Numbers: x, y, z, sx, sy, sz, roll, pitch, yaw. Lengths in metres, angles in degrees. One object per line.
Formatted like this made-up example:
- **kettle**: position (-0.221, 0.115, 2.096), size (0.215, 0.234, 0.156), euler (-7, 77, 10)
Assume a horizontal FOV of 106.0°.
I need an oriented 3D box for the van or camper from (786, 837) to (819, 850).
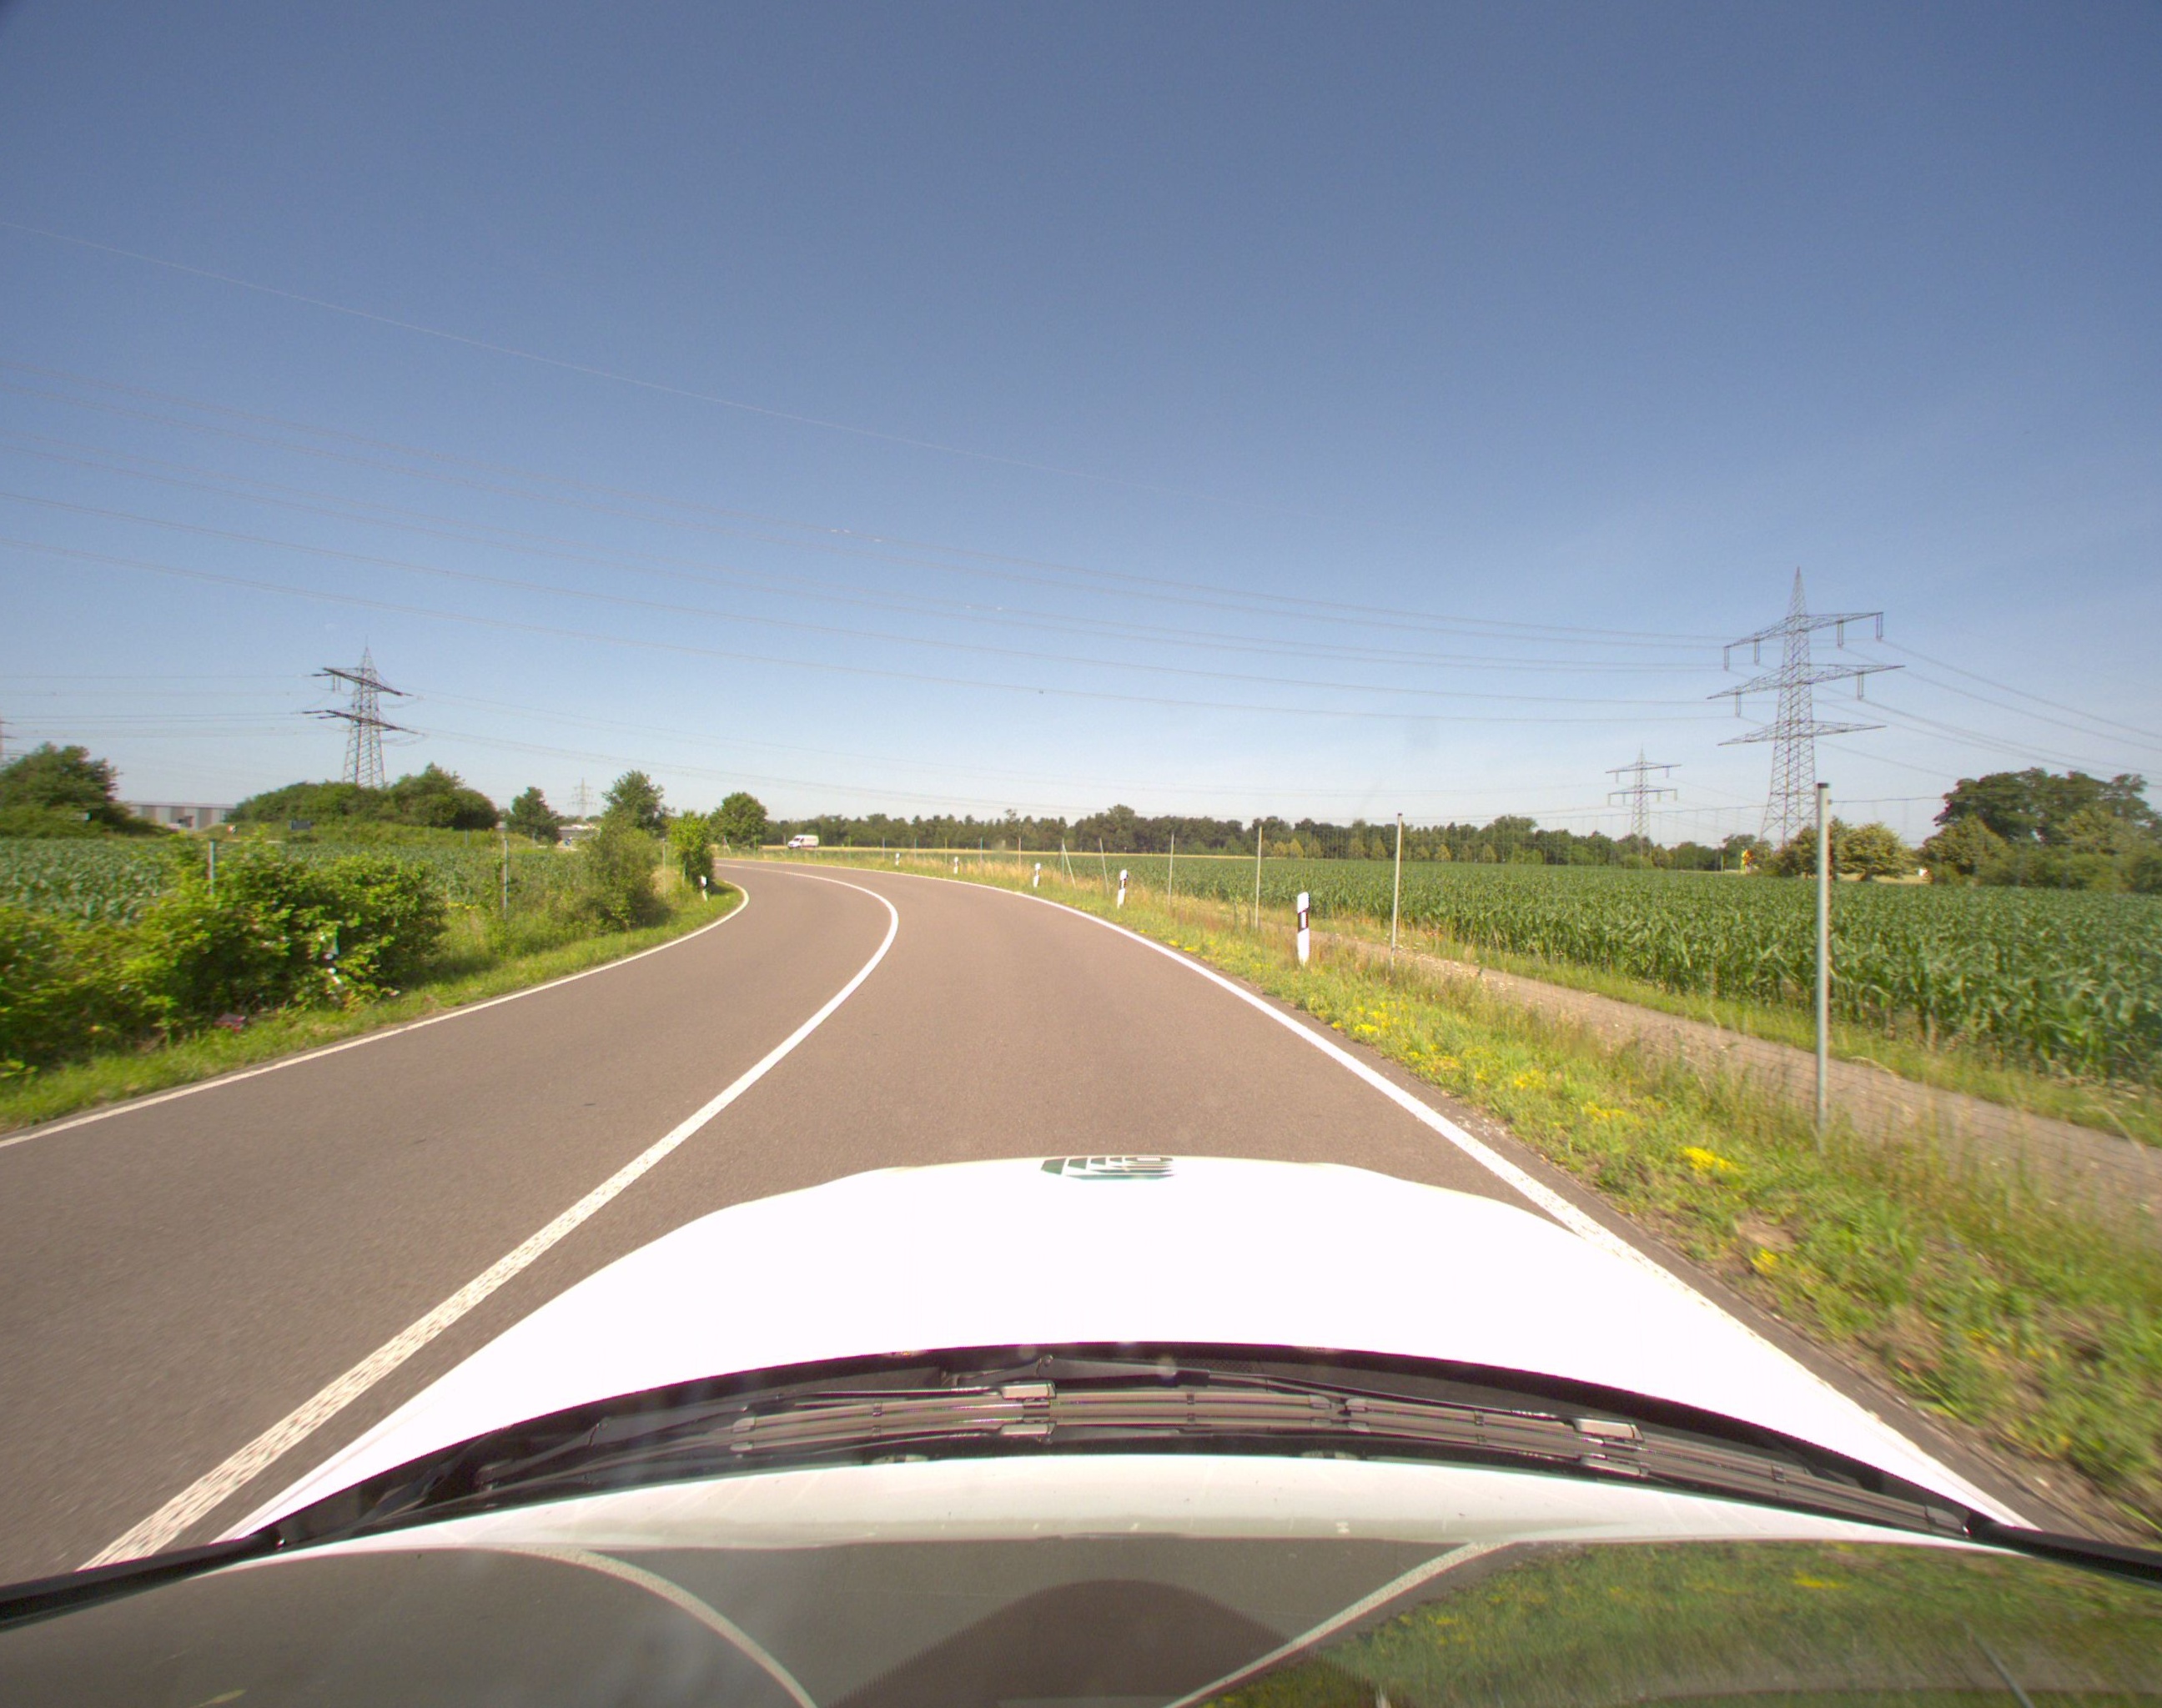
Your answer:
- **van or camper**: position (-49.223, -1.865, 143.936), size (1.976, 2.266, 5.801), euler (1, 0, 24)
